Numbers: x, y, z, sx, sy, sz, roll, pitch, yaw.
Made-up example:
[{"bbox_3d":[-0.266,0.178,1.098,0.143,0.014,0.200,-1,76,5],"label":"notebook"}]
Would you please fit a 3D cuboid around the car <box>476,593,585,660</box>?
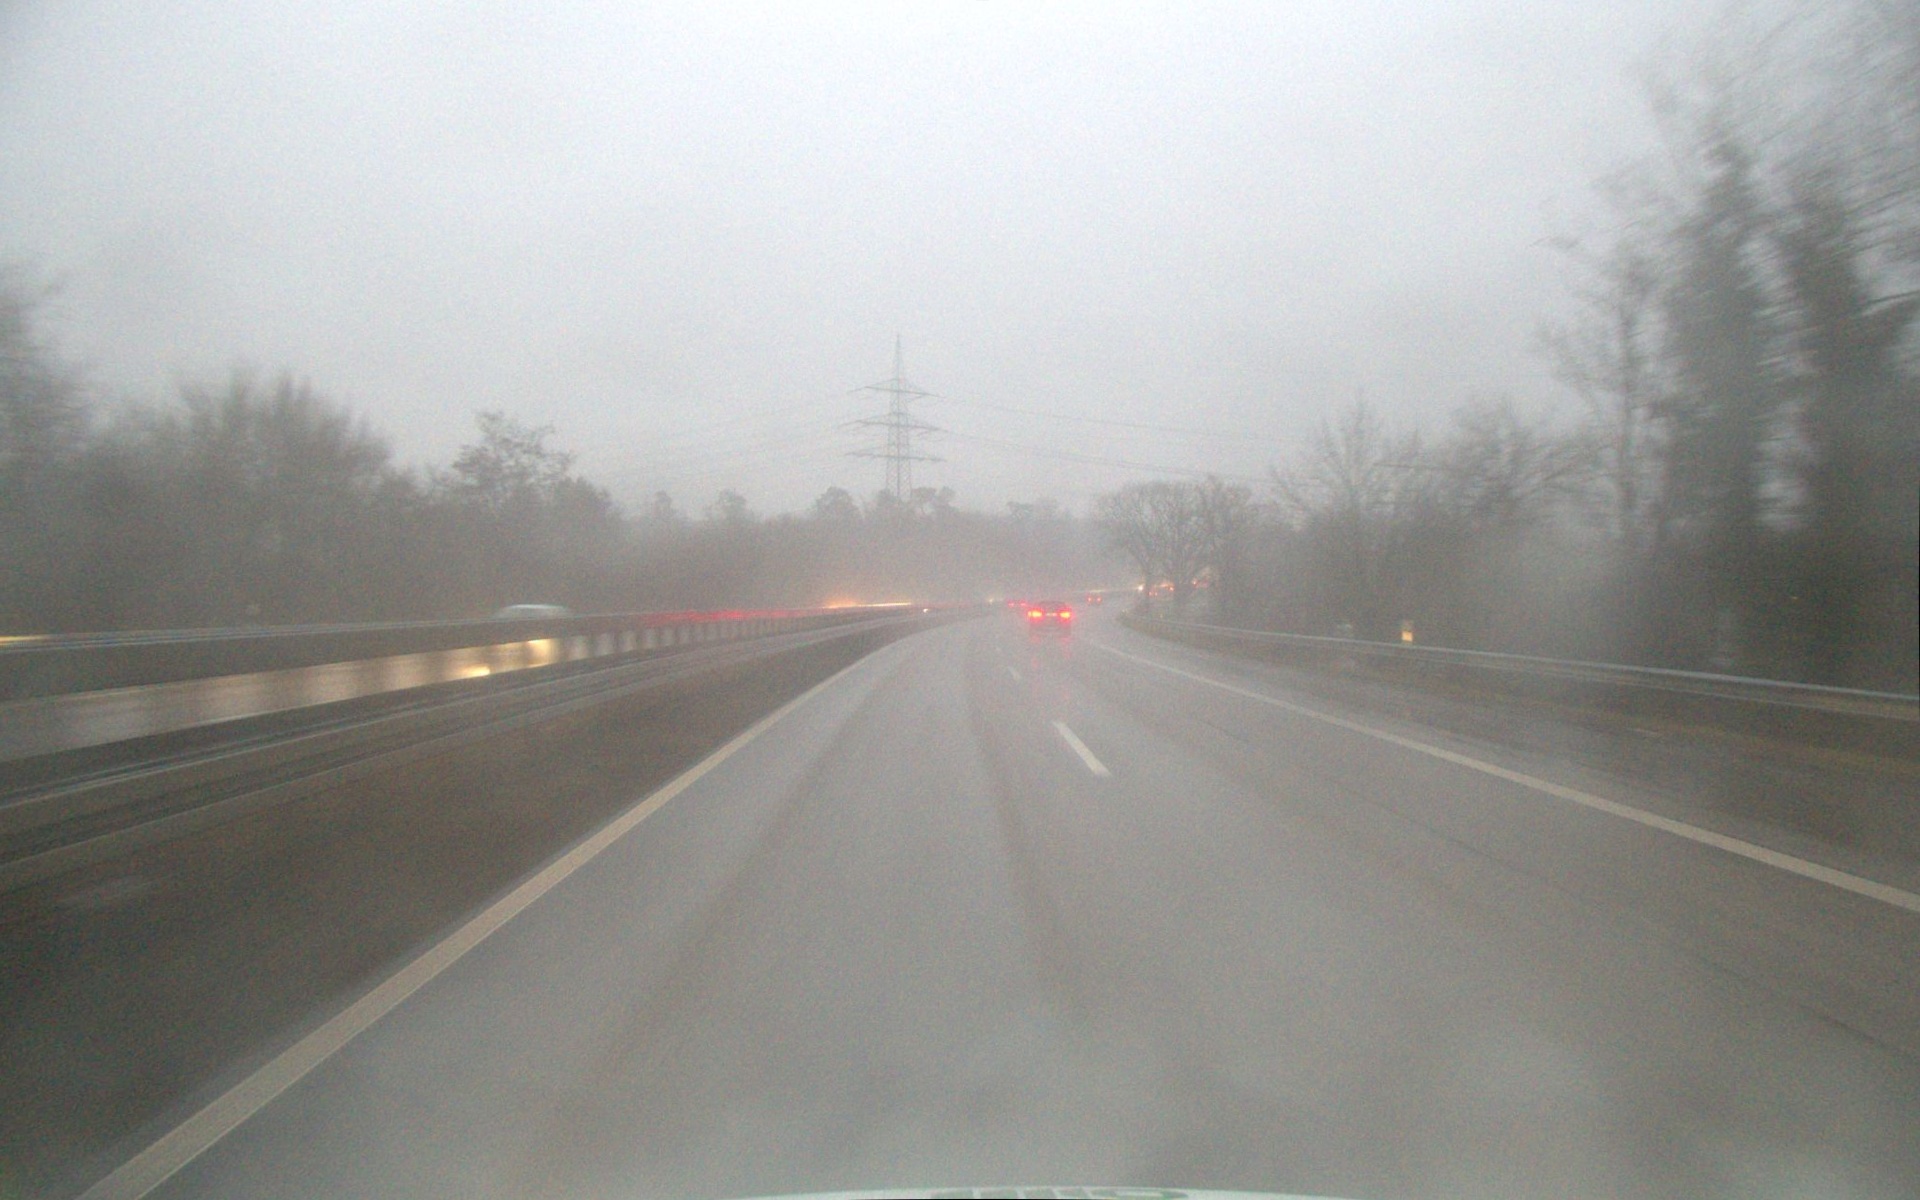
[{"bbox_3d":[-11.237,0.675,43.521,1.683,1.447,4.000,8,0,0],"label":"car"}]
